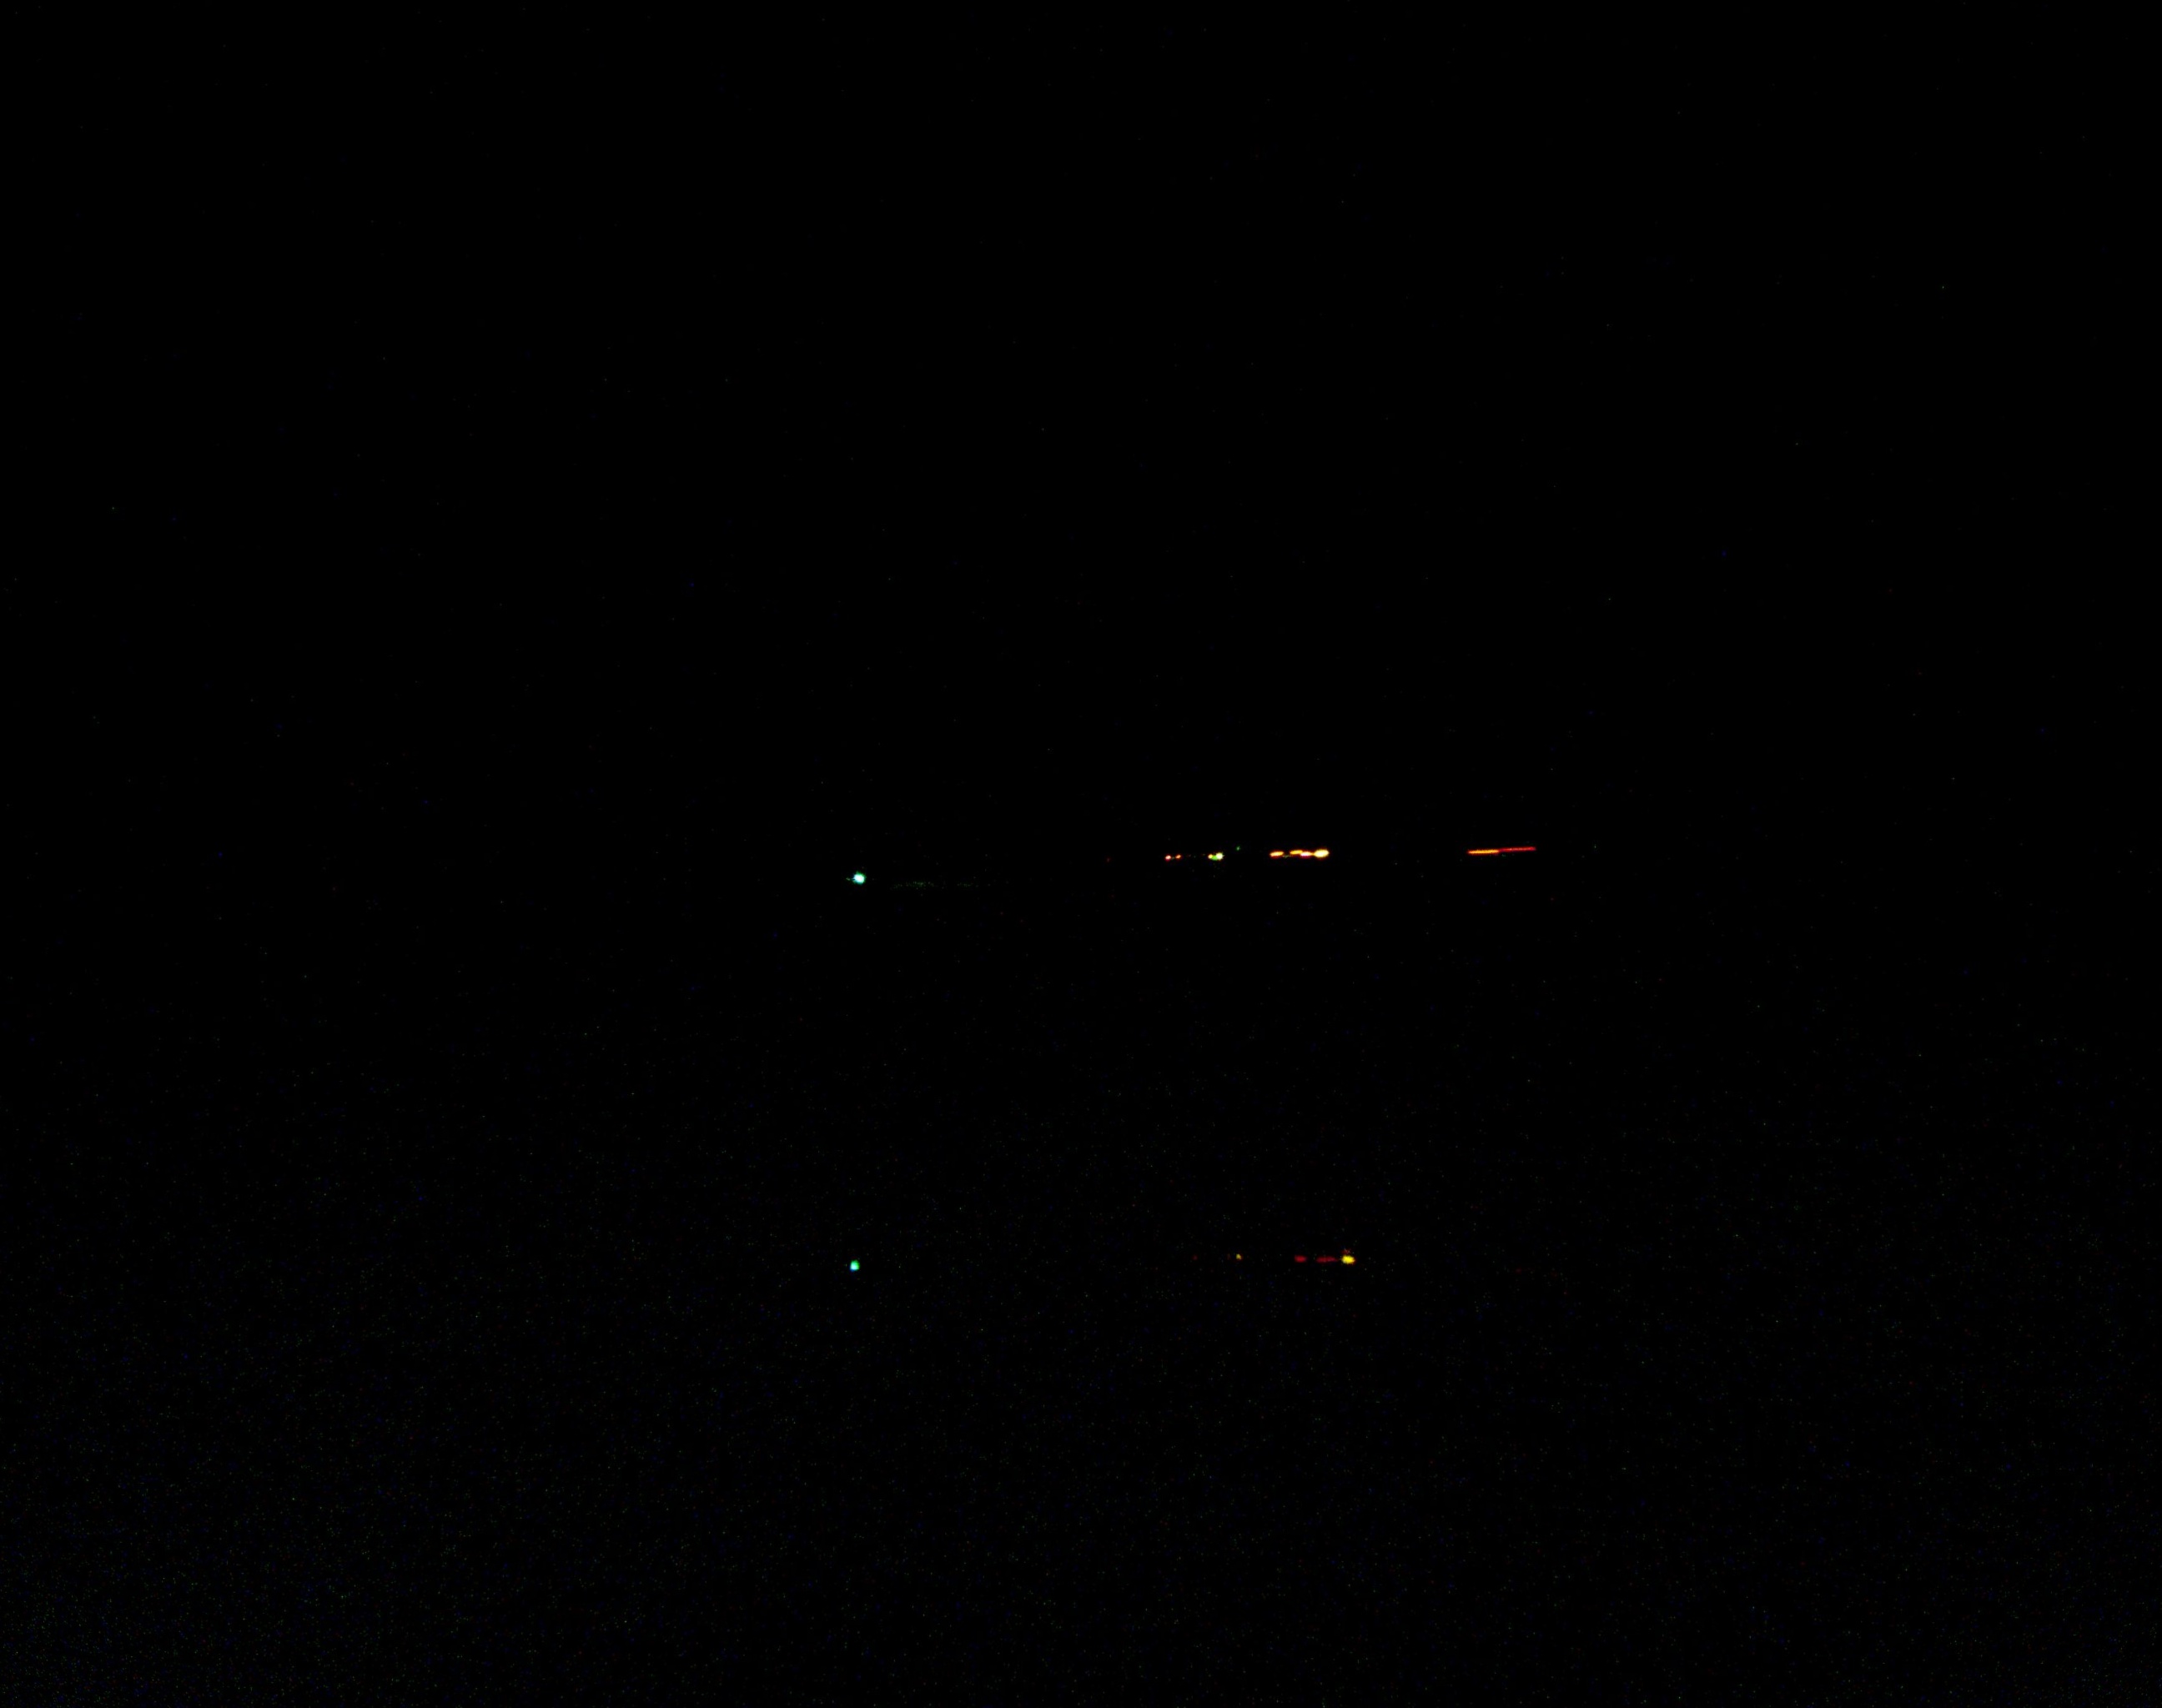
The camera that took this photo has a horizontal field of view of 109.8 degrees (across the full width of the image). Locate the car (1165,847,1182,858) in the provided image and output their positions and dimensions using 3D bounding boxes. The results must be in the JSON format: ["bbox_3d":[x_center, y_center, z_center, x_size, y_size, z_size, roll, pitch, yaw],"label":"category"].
[{"bbox_3d":[13.371,-0.180,109.892,1.962,1.448,4.471,-3,0,1],"label":"car"}]

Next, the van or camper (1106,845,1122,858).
[{"bbox_3d":[7.026,-0.557,161.342,2.301,2.602,7.662,-3,0,-5],"label":"van or camper"}]

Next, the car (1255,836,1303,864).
[{"bbox_3d":[13.327,-0.272,51.336,1.962,1.723,5.079,-3,0,1],"label":"car"}]

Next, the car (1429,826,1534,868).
[{"bbox_3d":[15.940,-0.259,30.526,1.962,1.448,4.336,-3,0,1],"label":"car"}]

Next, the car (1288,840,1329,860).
[{"bbox_3d":[18.874,-0.342,63.179,1.776,1.403,4.843,-5,1,-1],"label":"car"}]

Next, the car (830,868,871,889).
[{"bbox_3d":[-24.494,2.634,80.798,3.990,1.843,2.003,-5,1,37],"label":"car"}]

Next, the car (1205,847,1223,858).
[{"bbox_3d":[19.884,-0.229,113.948,1.962,1.448,4.170,-3,0,1],"label":"car"}]
